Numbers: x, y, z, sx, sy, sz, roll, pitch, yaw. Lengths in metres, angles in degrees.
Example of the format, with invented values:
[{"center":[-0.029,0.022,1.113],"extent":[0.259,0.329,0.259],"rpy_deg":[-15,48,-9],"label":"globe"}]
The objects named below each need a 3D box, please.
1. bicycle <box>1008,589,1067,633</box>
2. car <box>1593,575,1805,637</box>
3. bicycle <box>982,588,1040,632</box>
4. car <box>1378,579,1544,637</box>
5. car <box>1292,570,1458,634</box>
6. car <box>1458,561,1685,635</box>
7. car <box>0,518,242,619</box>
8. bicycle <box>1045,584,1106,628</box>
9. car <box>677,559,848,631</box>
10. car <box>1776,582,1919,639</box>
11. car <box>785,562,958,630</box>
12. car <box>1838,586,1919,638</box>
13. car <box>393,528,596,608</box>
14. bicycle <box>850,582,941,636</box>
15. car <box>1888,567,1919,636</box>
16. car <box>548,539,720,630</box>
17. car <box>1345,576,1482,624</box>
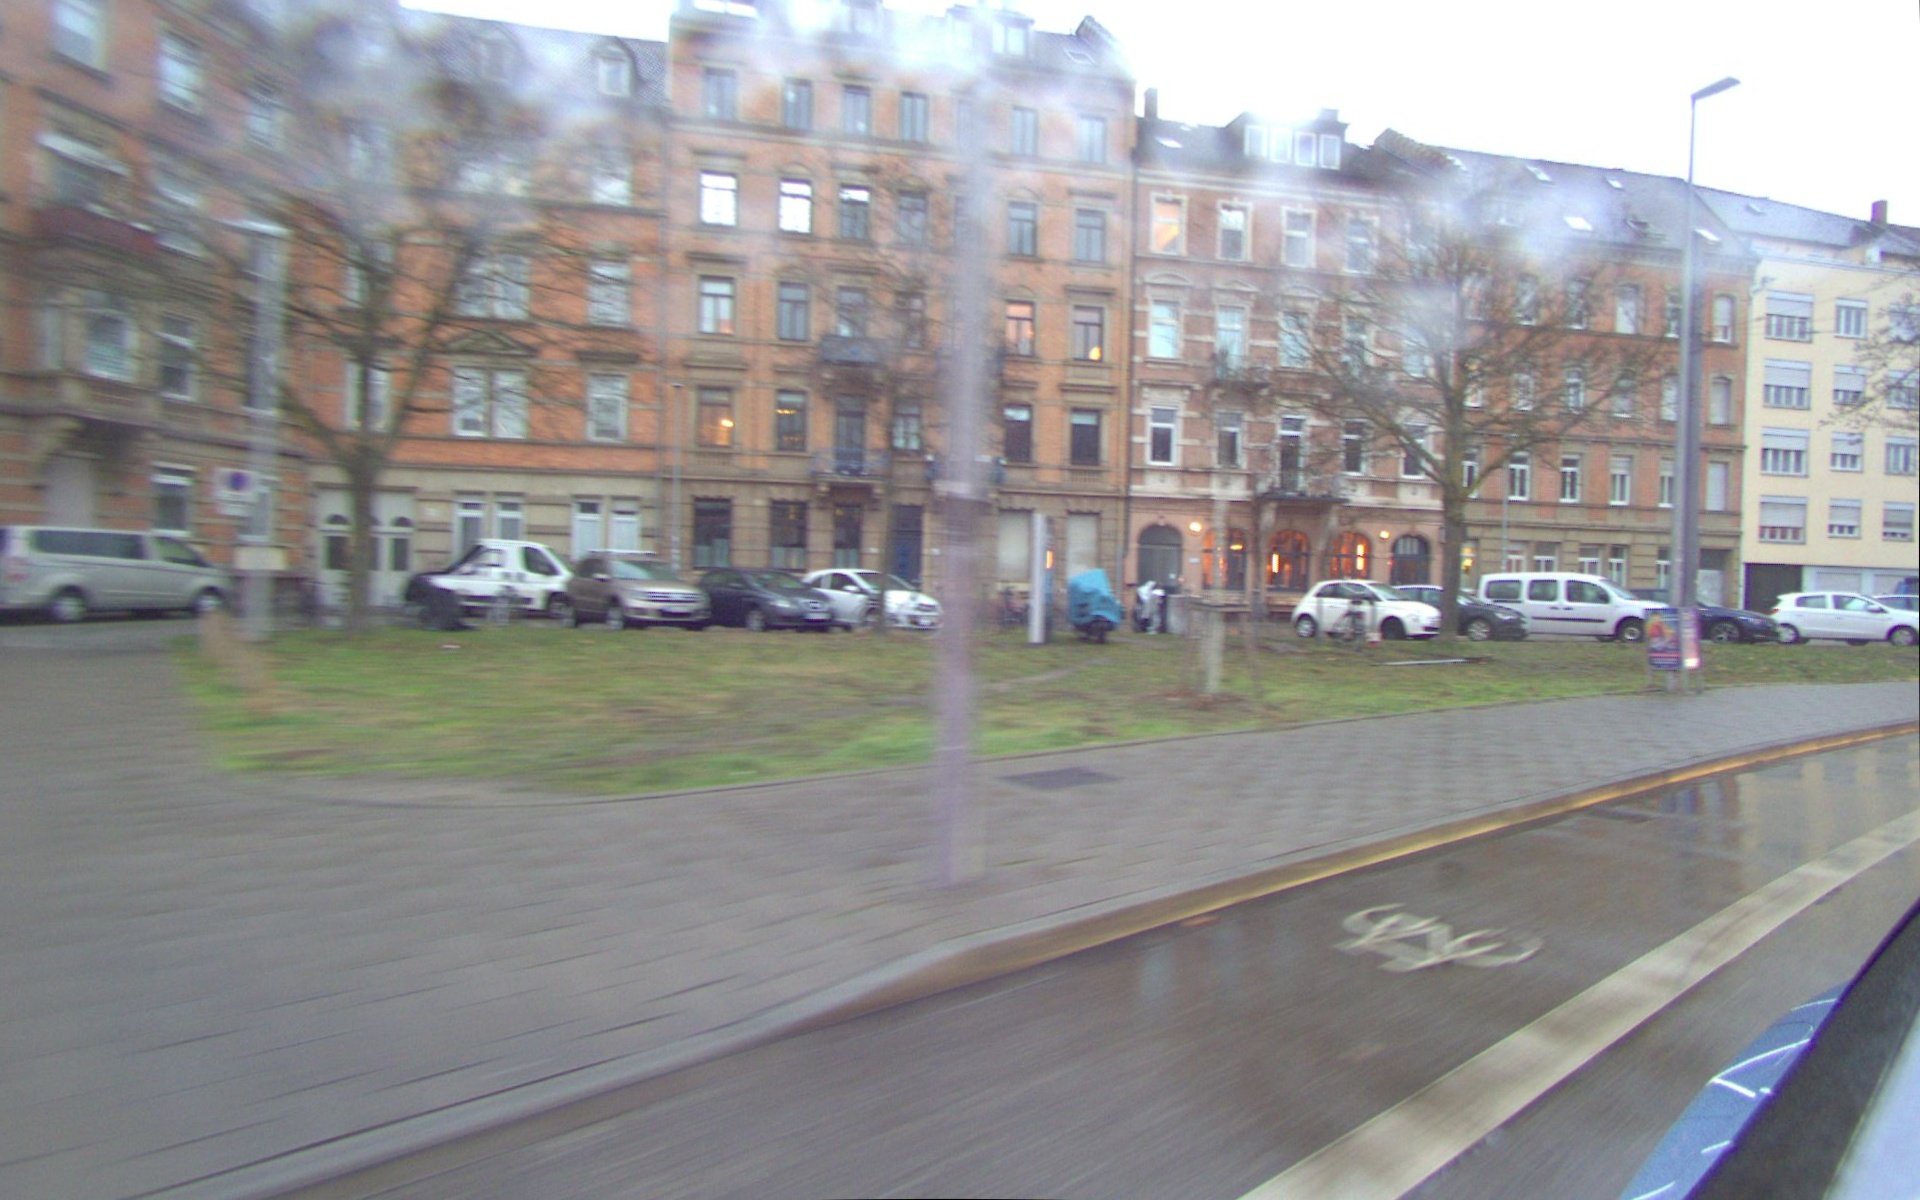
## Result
[{"center":[1.837,0.248,24.421],"extent":[0.613,0.978,2.175],"rpy_deg":[3,-1,-18],"label":"bicycle"},{"center":[18.808,0.125,25.900],"extent":[1.739,1.250,4.061],"rpy_deg":[2,3,-40],"label":"car"},{"center":[1.187,0.219,24.209],"extent":[0.613,0.978,2.175],"rpy_deg":[3,-1,-18],"label":"bicycle"},{"center":[12.679,0.172,25.729],"extent":[1.636,1.368,3.425],"rpy_deg":[1,0,-43],"label":"car"},{"center":[10.109,0.053,24.815],"extent":[1.585,1.461,3.463],"rpy_deg":[1,-1,-39],"label":"car"},{"center":[15.593,-0.113,26.020],"extent":[1.747,1.612,4.657],"rpy_deg":[0,3,-42],"label":"car"},{"center":[-18.630,-0.558,22.001],"extent":[1.972,1.943,4.723],"rpy_deg":[-1,-1,16],"label":"car"},{"center":[2.791,0.126,24.635],"extent":[0.613,0.978,2.176],"rpy_deg":[1,2,-18],"label":"bicycle"},{"center":[-4.210,-0.100,21.261],"extent":[3.731,1.372,1.651],"rpy_deg":[1,-1,43],"label":"car"},{"center":[24.533,0.279,27.167],"extent":[1.729,1.451,3.772],"rpy_deg":[1,-1,-37],"label":"car"},{"center":[-2.013,-0.119,22.313],"extent":[3.846,1.353,1.671],"rpy_deg":[2,1,44],"label":"car"},{"center":[26.827,0.328,27.832],"extent":[3.985,1.433,1.616],"rpy_deg":[-1,-2,43],"label":"car"},{"center":[-12.859,-0.876,28.322],"extent":[4.882,2.038,2.005],"rpy_deg":[1,2,-15],"label":"car"},{"center":[-1.216,0.167,19.226],"extent":[1.625,0.948,0.513],"rpy_deg":[2,1,10],"label":"bicycle"},{"center":[29.626,0.054,28.800],"extent":[4.705,2.008,1.771],"rpy_deg":[0,-1,43],"label":"car"},{"center":[-6.738,-0.384,20.687],"extent":[1.911,1.656,3.994],"rpy_deg":[0,3,-42],"label":"car"},{"center":[15.242,0.028,34.060],"extent":[3.965,1.520,1.740],"rpy_deg":[1,-1,-14],"label":"car"}]
